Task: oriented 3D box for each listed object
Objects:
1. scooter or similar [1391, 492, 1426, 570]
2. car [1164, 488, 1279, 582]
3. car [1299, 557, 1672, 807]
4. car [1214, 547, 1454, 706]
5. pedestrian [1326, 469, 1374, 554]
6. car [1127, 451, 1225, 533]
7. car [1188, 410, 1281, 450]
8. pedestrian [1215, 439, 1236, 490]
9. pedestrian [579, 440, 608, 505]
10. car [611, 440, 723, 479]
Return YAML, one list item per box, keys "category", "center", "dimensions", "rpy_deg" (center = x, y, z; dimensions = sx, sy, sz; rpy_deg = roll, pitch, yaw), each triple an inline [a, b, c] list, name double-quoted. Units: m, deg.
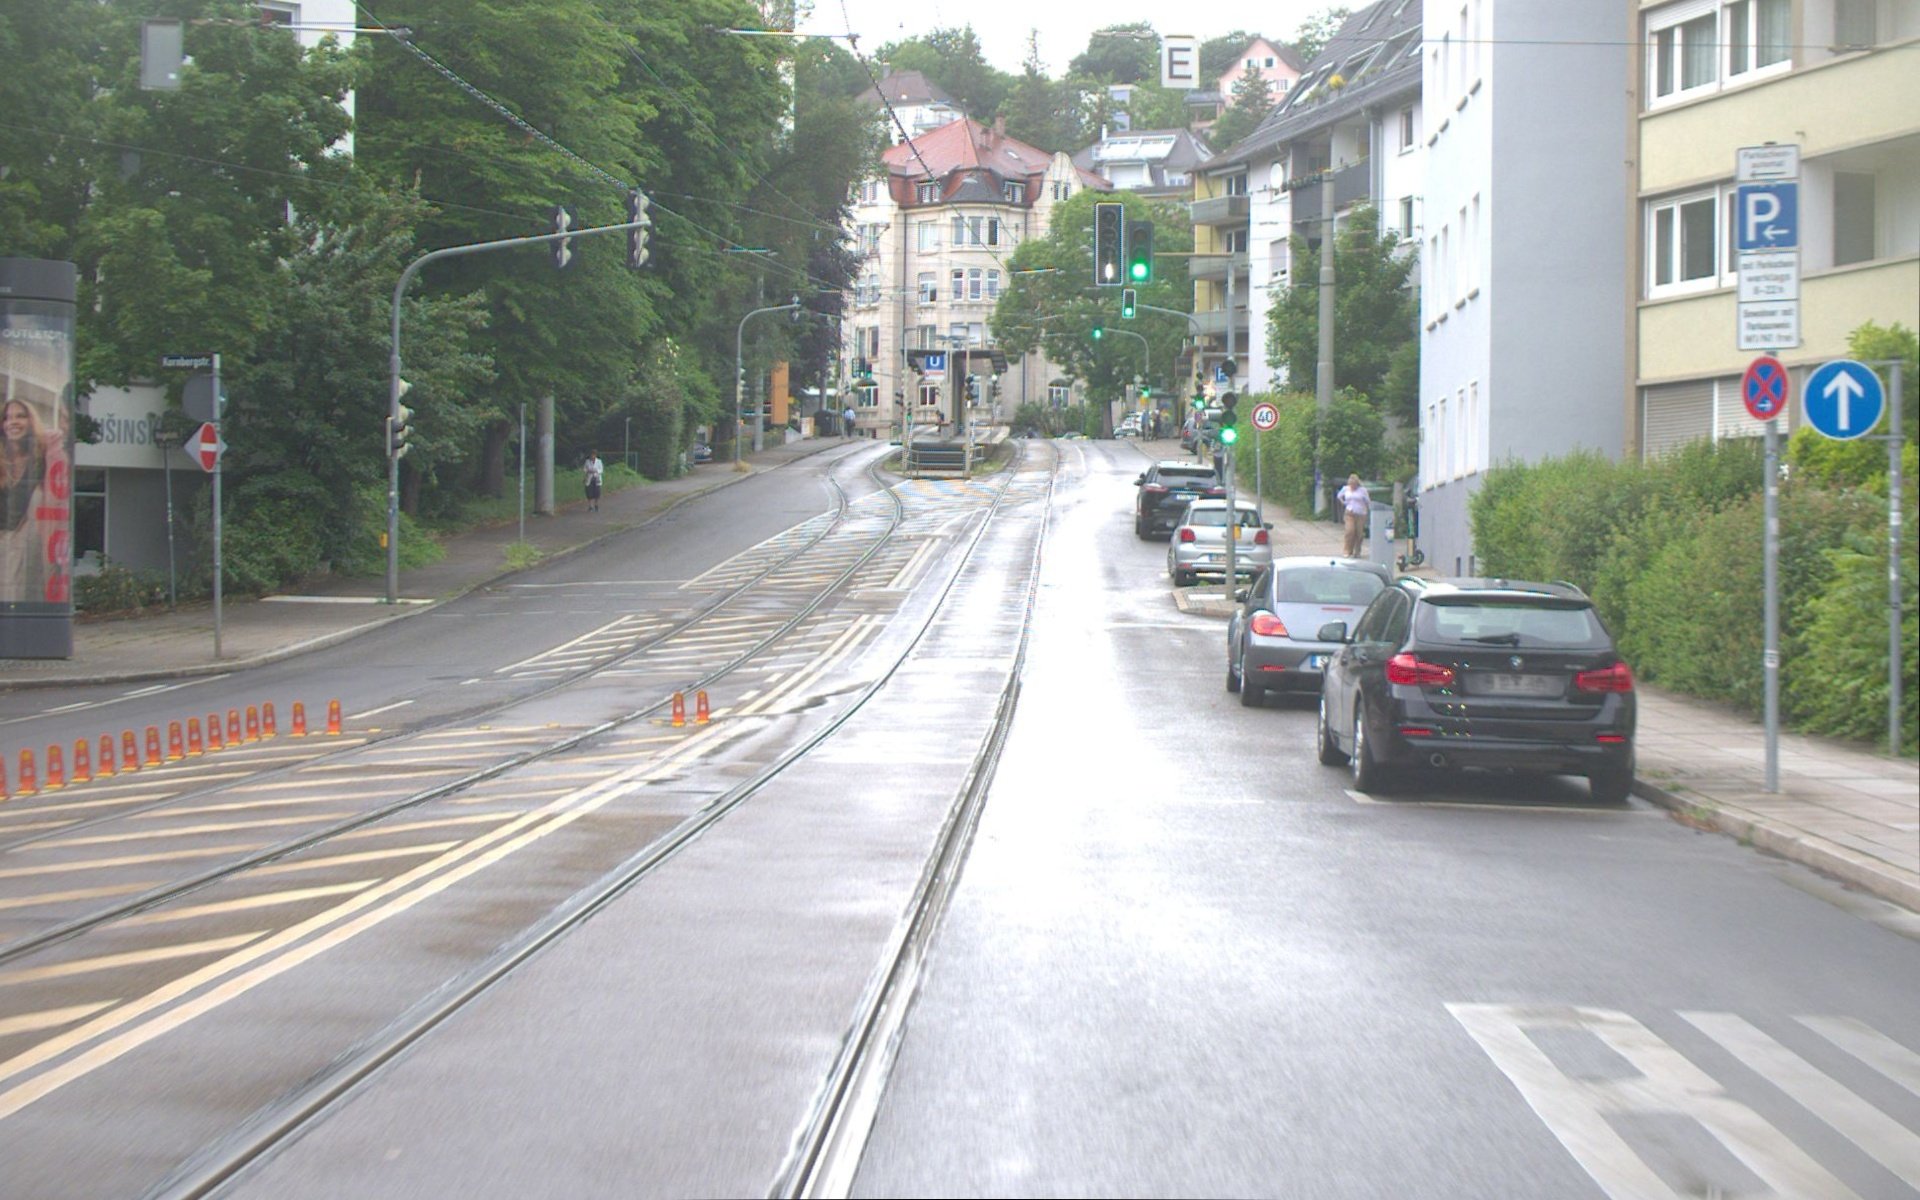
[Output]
- category: "scooter or similar"
  center: [7.910, -1.230, 60.653]
  dimensions: [0.575, 1.245, 1.610]
  rpy_deg: [2, 6, 7]
- category: "car"
  center: [4.532, -1.166, 60.098]
  dimensions: [1.704, 1.428, 4.102]
  rpy_deg: [2, 3, 1]
- category: "car"
  center: [3.503, 0.481, 23.761]
  dimensions: [1.858, 1.482, 4.645]
  rpy_deg: [2, 1, 0]
- category: "car"
  center: [3.750, 0.221, 35.183]
  dimensions: [1.940, 1.459, 4.206]
  rpy_deg: [2, 1, 0]
- category: "pedestrian"
  center: [7.485, -1.699, 66.047]
  dimensions: [0.882, 1.577, 0.801]
  rpy_deg: [0, 5, 4]
- category: "car"
  center: [4.763, -2.426, 76.425]
  dimensions: [1.906, 1.636, 4.690]
  rpy_deg: [2, 3, 1]
- category: "car"
  center: [12.176, -7.548, 152.762]
  dimensions: [3.987, 1.640, 1.808]
  rpy_deg: [2, 1, 1]
- category: "pedestrian"
  center: [8.503, -4.332, 110.033]
  dimensions: [0.644, 1.623, 0.699]
  rpy_deg: [1, 2, 4]
- category: "pedestrian"
  center: [-9.234, -3.224, 86.707]
  dimensions: [0.583, 1.594, 0.869]
  rpy_deg: [3, 2, -2]
- category: "car"
  center: [-11.323, -5.440, 132.851]
  dimensions: [3.992, 1.401, 1.680]
  rpy_deg: [2, 0, 25]
